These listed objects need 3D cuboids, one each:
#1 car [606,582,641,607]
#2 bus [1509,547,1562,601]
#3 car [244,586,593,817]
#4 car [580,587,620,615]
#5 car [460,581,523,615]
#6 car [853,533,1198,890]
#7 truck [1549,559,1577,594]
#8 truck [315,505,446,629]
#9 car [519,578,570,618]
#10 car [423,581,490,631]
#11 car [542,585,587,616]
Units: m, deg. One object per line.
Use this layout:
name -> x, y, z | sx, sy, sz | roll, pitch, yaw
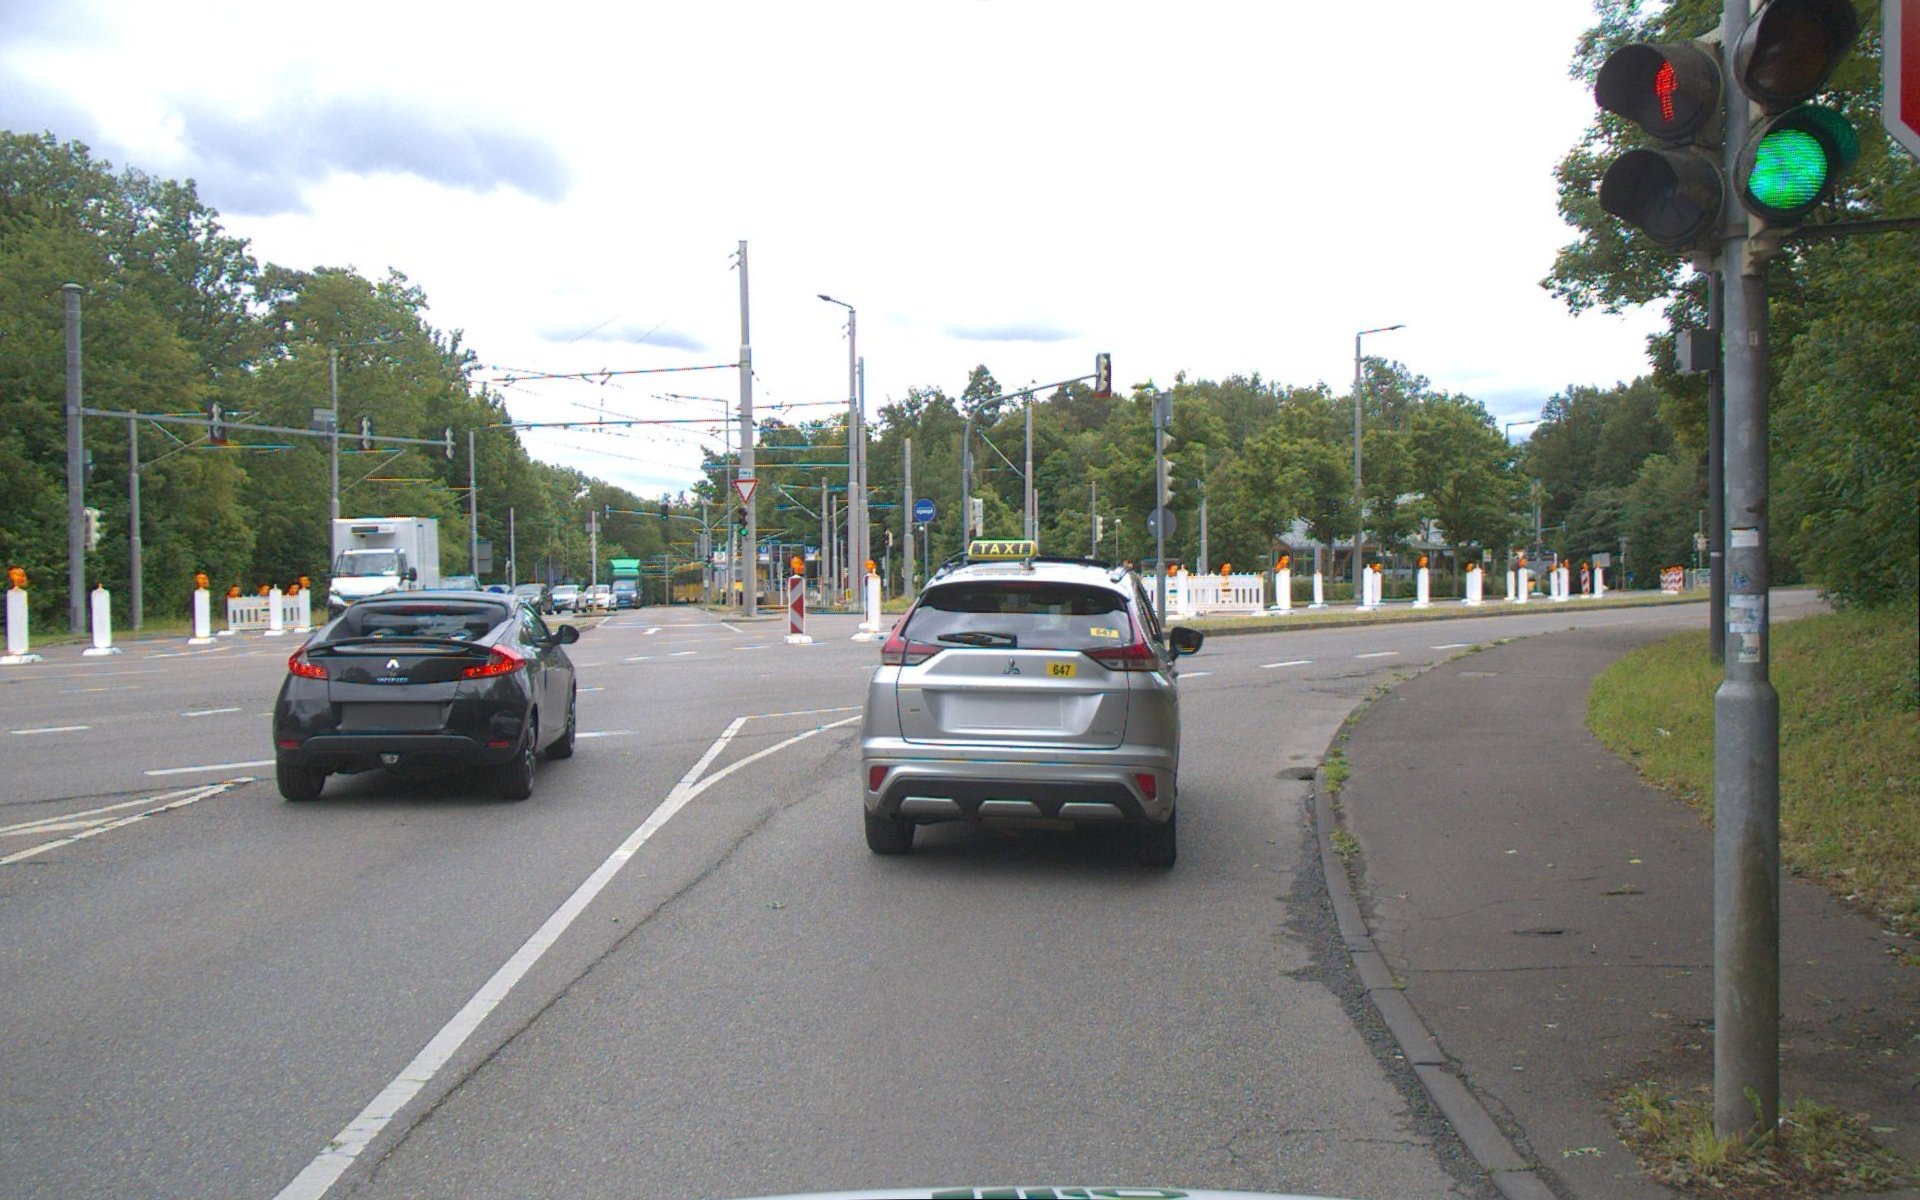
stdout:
car -> -22.653, -0.377, 111.504 | 1.925, 1.567, 4.303 | -1, 1, -7
bus -> 41.346, -1.911, 119.065 | 2.762, 3.666, 12.814 | -1, 1, 16
car -> -3.799, 0.627, 12.194 | 1.740, 1.385, 3.471 | -2, 0, -7
car -> -21.314, 0.026, 98.052 | 1.925, 1.568, 4.389 | -1, 1, -7
car -> -20.465, -0.104, 72.377 | 1.925, 1.385, 4.682 | -1, 1, -7
car -> 0.551, 0.540, 10.274 | 1.736, 1.778, 3.783 | 1, 0, 7
truck -> 60.672, -2.381, 166.529 | 2.432, 3.344, 8.523 | -1, 0, 18
truck -> -16.789, -0.907, 48.370 | 2.404, 3.280, 7.138 | -2, 0, -10
car -> -20.778, -0.124, 82.896 | 1.925, 1.877, 4.682 | -1, 1, -7
car -> -19.140, 0.207, 62.991 | 1.927, 1.780, 4.832 | -1, 1, -11
car -> -21.936, -0.005, 91.786 | 1.925, 1.635, 4.303 | -1, 1, -7
